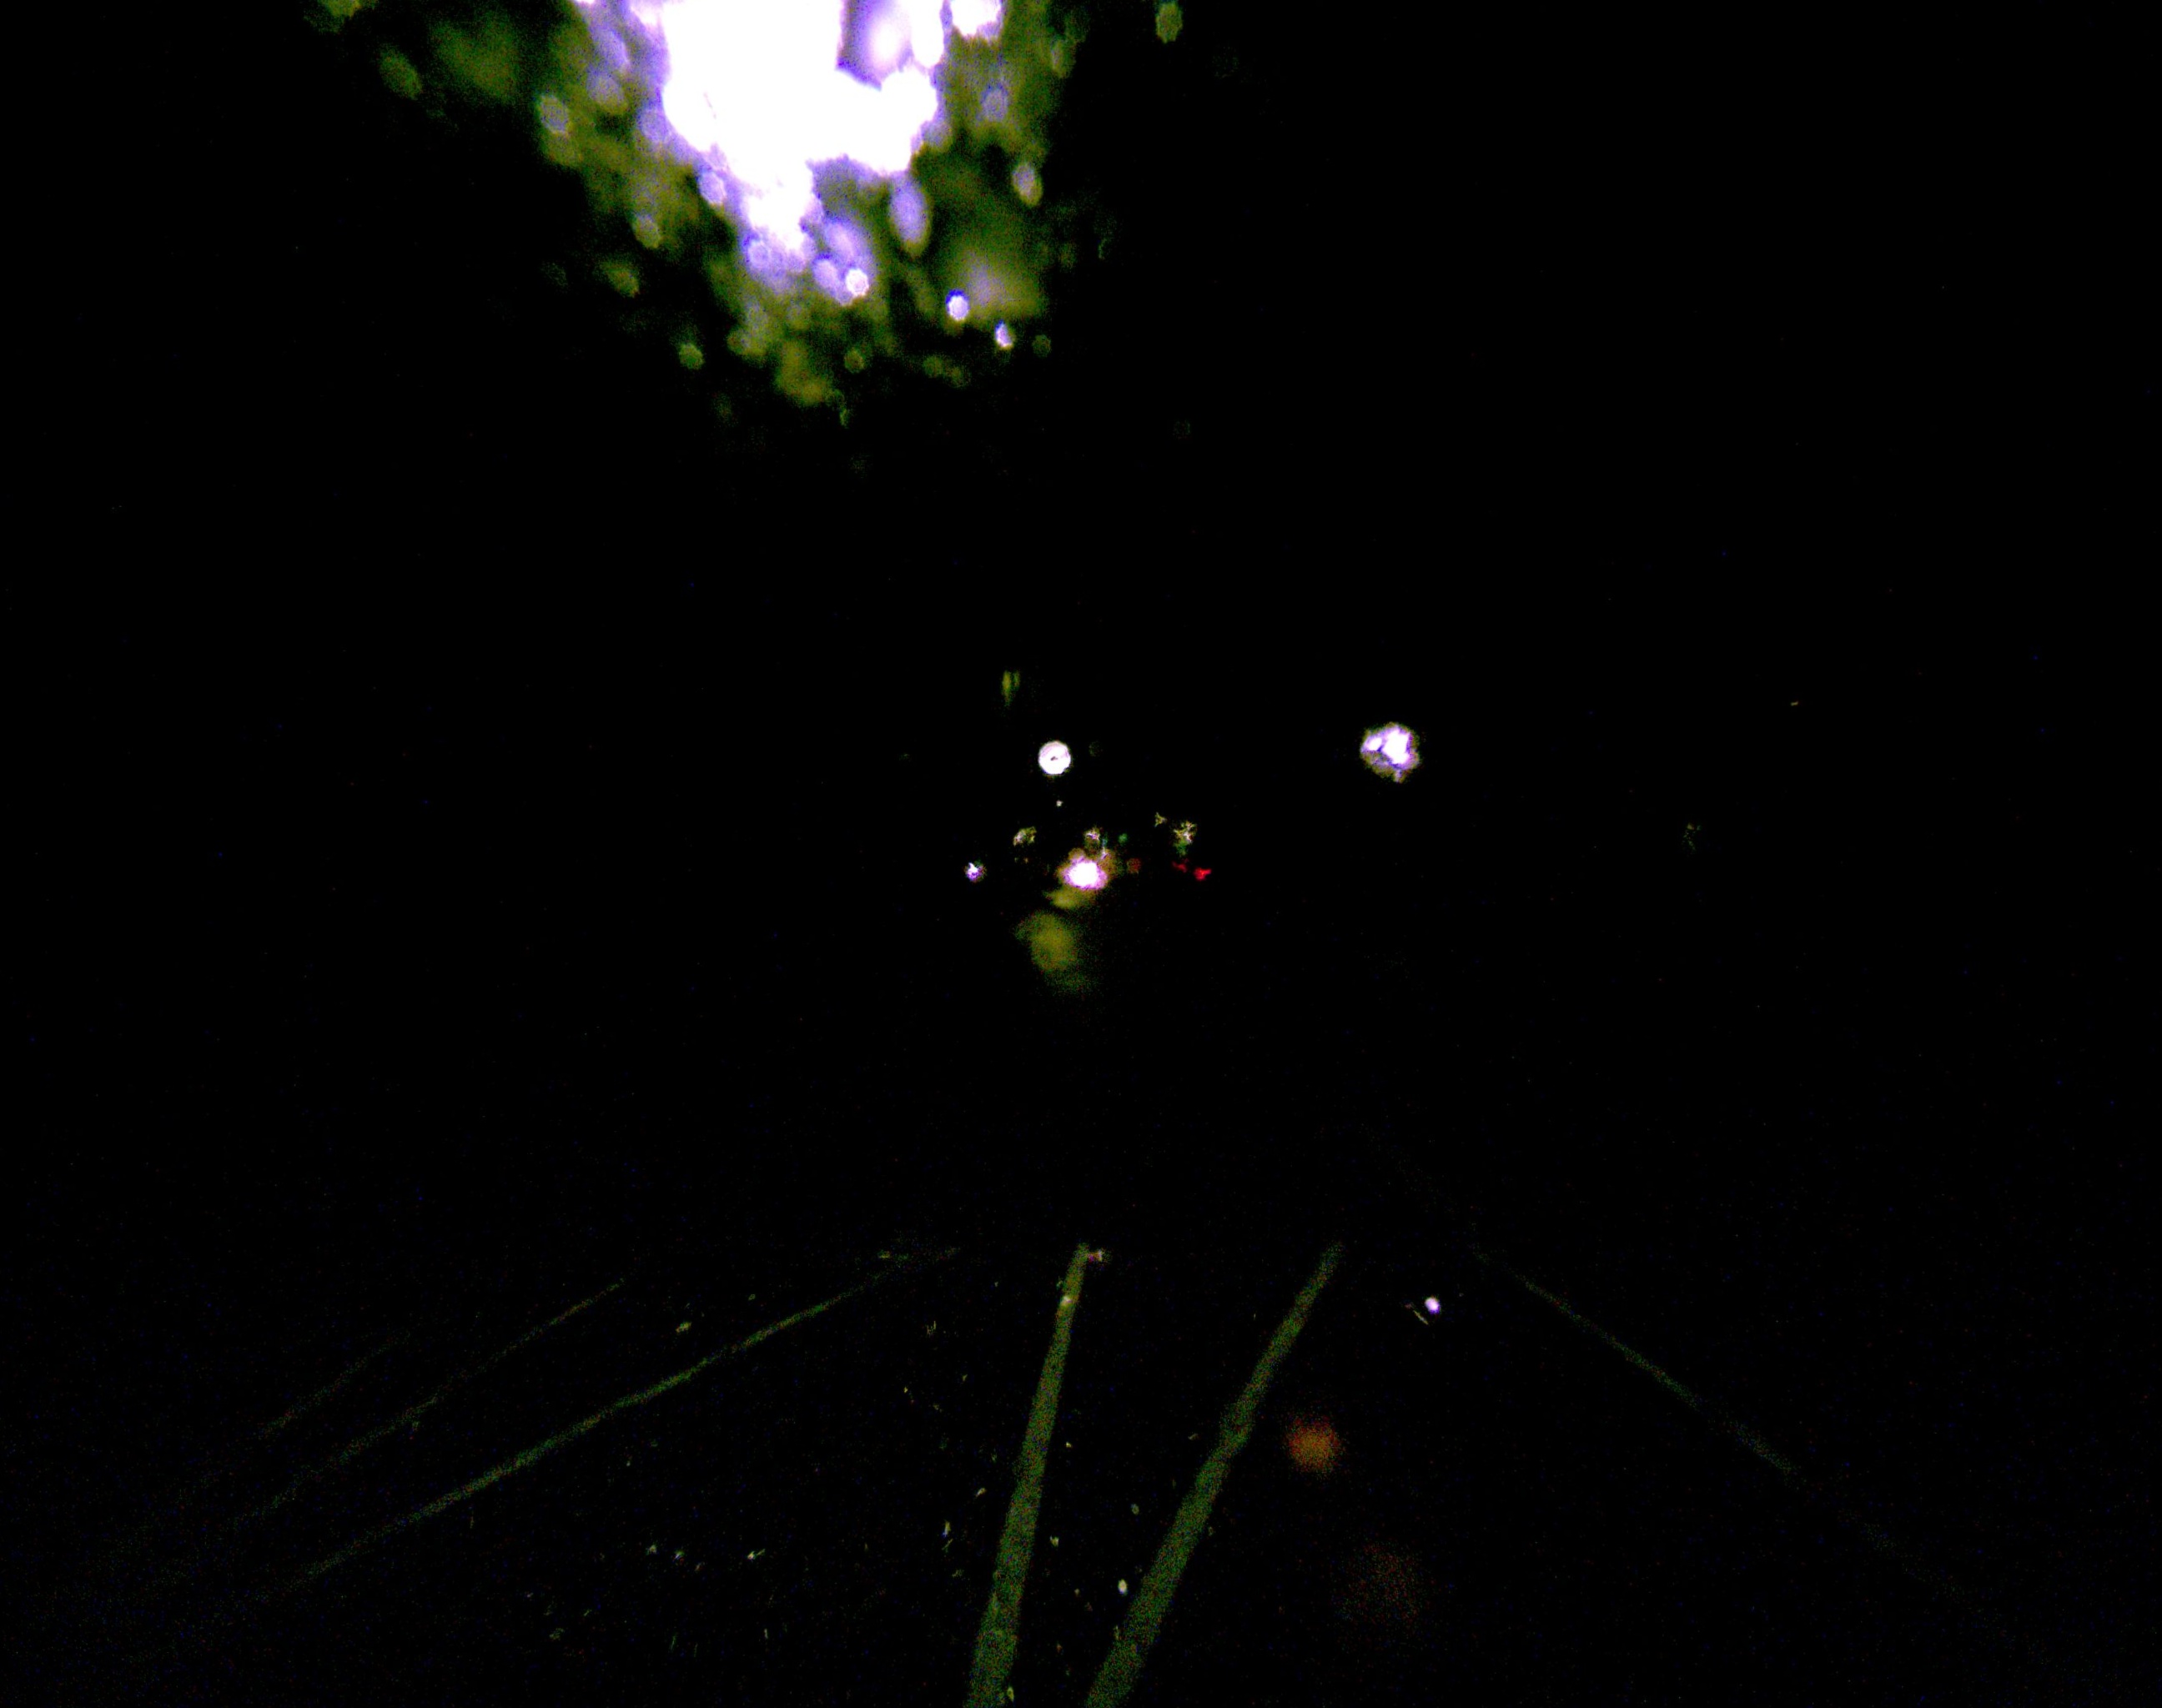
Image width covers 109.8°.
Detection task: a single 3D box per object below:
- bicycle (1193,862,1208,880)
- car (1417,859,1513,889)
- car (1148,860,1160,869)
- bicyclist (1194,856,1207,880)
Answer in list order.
[{"bbox_3d":[8.322,1.169,52.857,0.631,1.154,2.313,-1,0,0],"label":"bicycle"},{"bbox_3d":[19.522,1.007,38.725,4.084,1.364,1.494,0,4,5],"label":"car"},{"bbox_3d":[13.746,2.017,143.560,1.997,1.447,4.306,3,0,8],"label":"car"},{"bbox_3d":[8.271,0.993,52.573,0.638,1.585,0.961,-2,-3,0],"label":"bicyclist"}]
